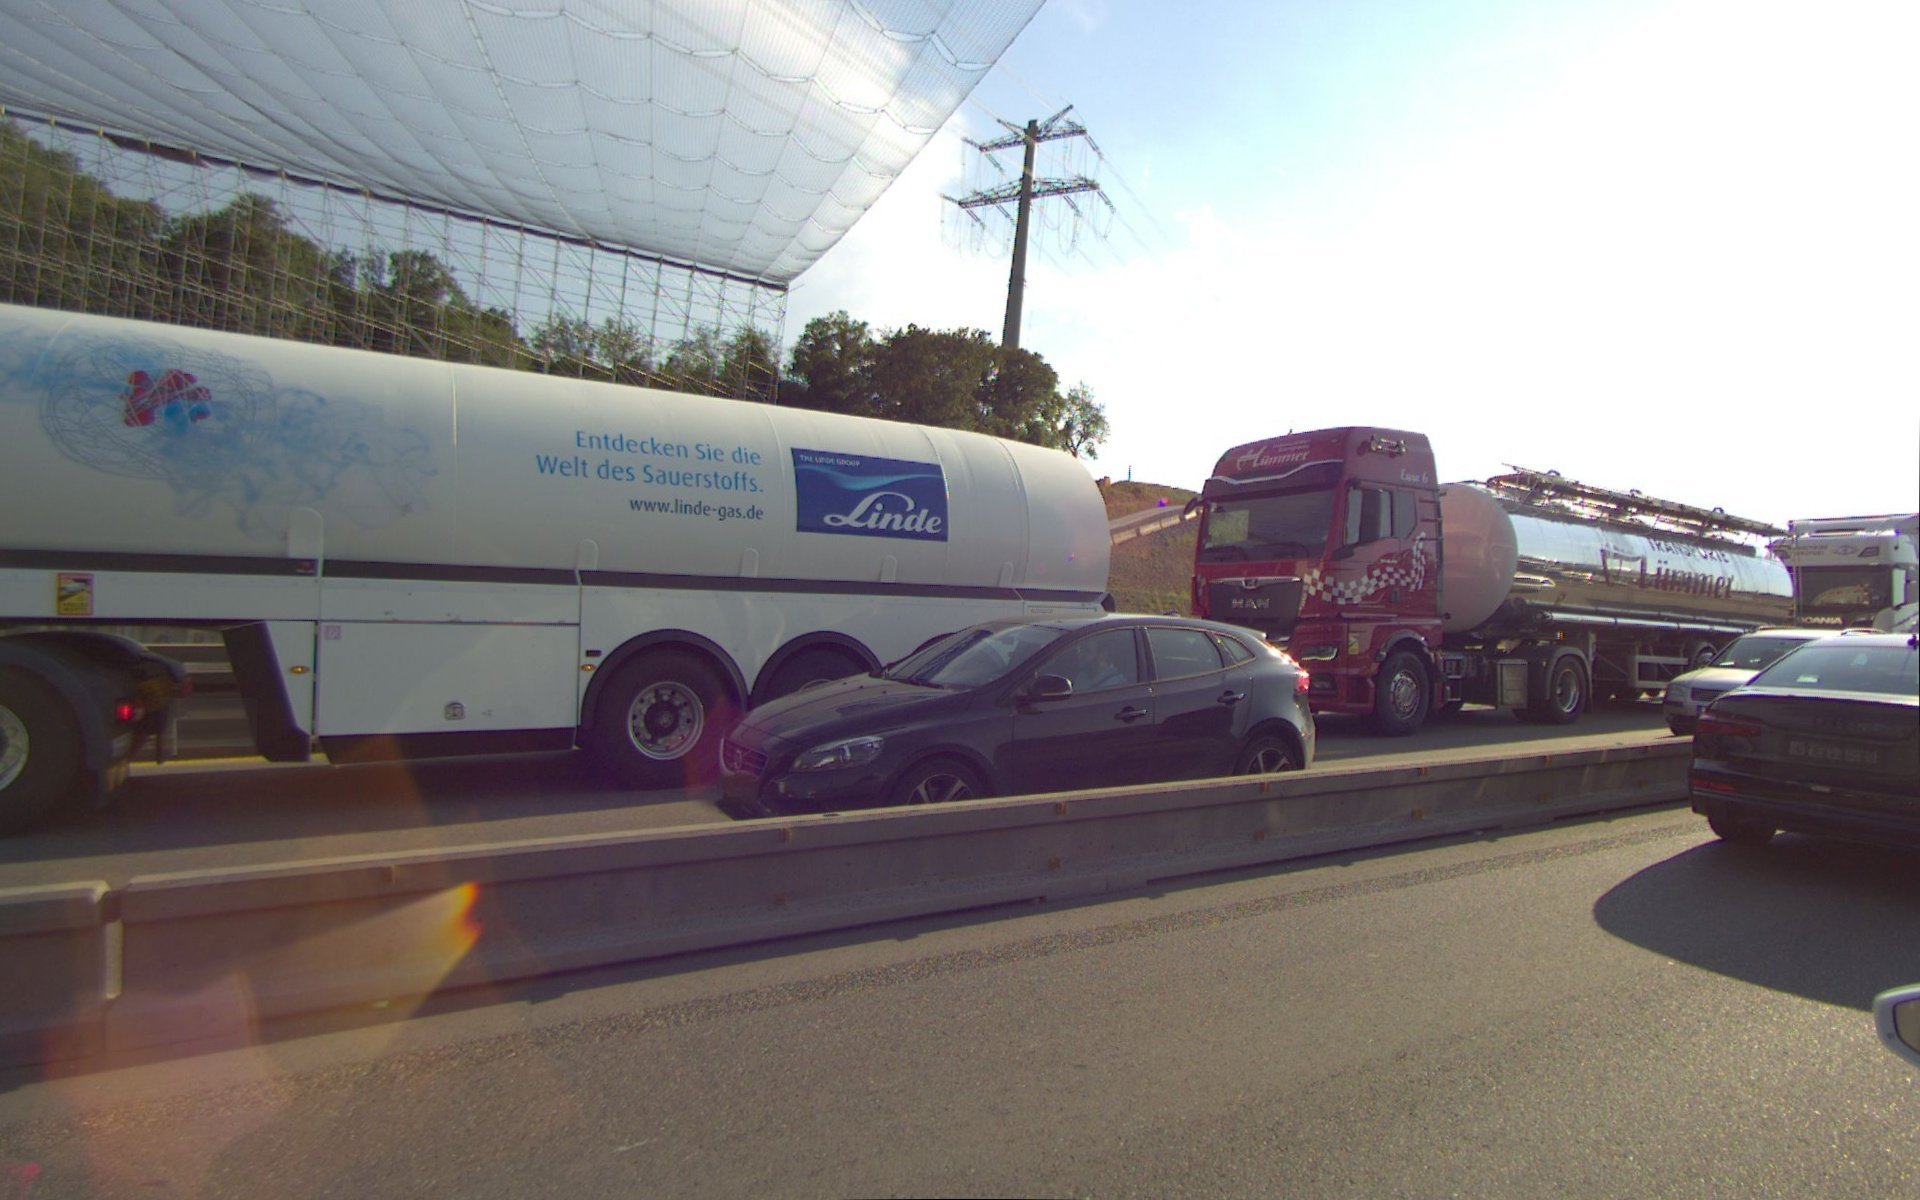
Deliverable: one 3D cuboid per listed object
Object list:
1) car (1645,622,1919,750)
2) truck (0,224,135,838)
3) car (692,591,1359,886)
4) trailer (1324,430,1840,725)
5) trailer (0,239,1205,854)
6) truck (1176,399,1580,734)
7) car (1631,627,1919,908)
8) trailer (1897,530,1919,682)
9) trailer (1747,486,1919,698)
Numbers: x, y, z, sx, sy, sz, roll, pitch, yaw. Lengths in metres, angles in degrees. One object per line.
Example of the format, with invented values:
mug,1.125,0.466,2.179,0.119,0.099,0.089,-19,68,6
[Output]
car,11.262,1.089,13.570,4.606,1.445,1.618,2,-1,-32
truck,-8.232,-0.477,5.300,5.551,3.415,2.402,2,0,-30
car,0.591,0.745,6.763,4.339,1.445,1.619,2,-1,-32
trailer,11.177,-0.103,17.165,11.915,3.840,2.295,2,0,-31
trailer,-3.286,-0.200,8.090,11.911,3.406,2.296,2,-1,-30
truck,5.946,-0.303,14.045,5.556,3.835,2.419,2,0,-33
car,6.903,0.953,6.901,4.904,1.417,1.924,2,0,-31
trailer,30.795,0.306,29.883,8.456,4.244,2.428,2,0,-34
trailer,22.957,-0.001,24.647,10.398,4.386,2.461,2,0,-33
